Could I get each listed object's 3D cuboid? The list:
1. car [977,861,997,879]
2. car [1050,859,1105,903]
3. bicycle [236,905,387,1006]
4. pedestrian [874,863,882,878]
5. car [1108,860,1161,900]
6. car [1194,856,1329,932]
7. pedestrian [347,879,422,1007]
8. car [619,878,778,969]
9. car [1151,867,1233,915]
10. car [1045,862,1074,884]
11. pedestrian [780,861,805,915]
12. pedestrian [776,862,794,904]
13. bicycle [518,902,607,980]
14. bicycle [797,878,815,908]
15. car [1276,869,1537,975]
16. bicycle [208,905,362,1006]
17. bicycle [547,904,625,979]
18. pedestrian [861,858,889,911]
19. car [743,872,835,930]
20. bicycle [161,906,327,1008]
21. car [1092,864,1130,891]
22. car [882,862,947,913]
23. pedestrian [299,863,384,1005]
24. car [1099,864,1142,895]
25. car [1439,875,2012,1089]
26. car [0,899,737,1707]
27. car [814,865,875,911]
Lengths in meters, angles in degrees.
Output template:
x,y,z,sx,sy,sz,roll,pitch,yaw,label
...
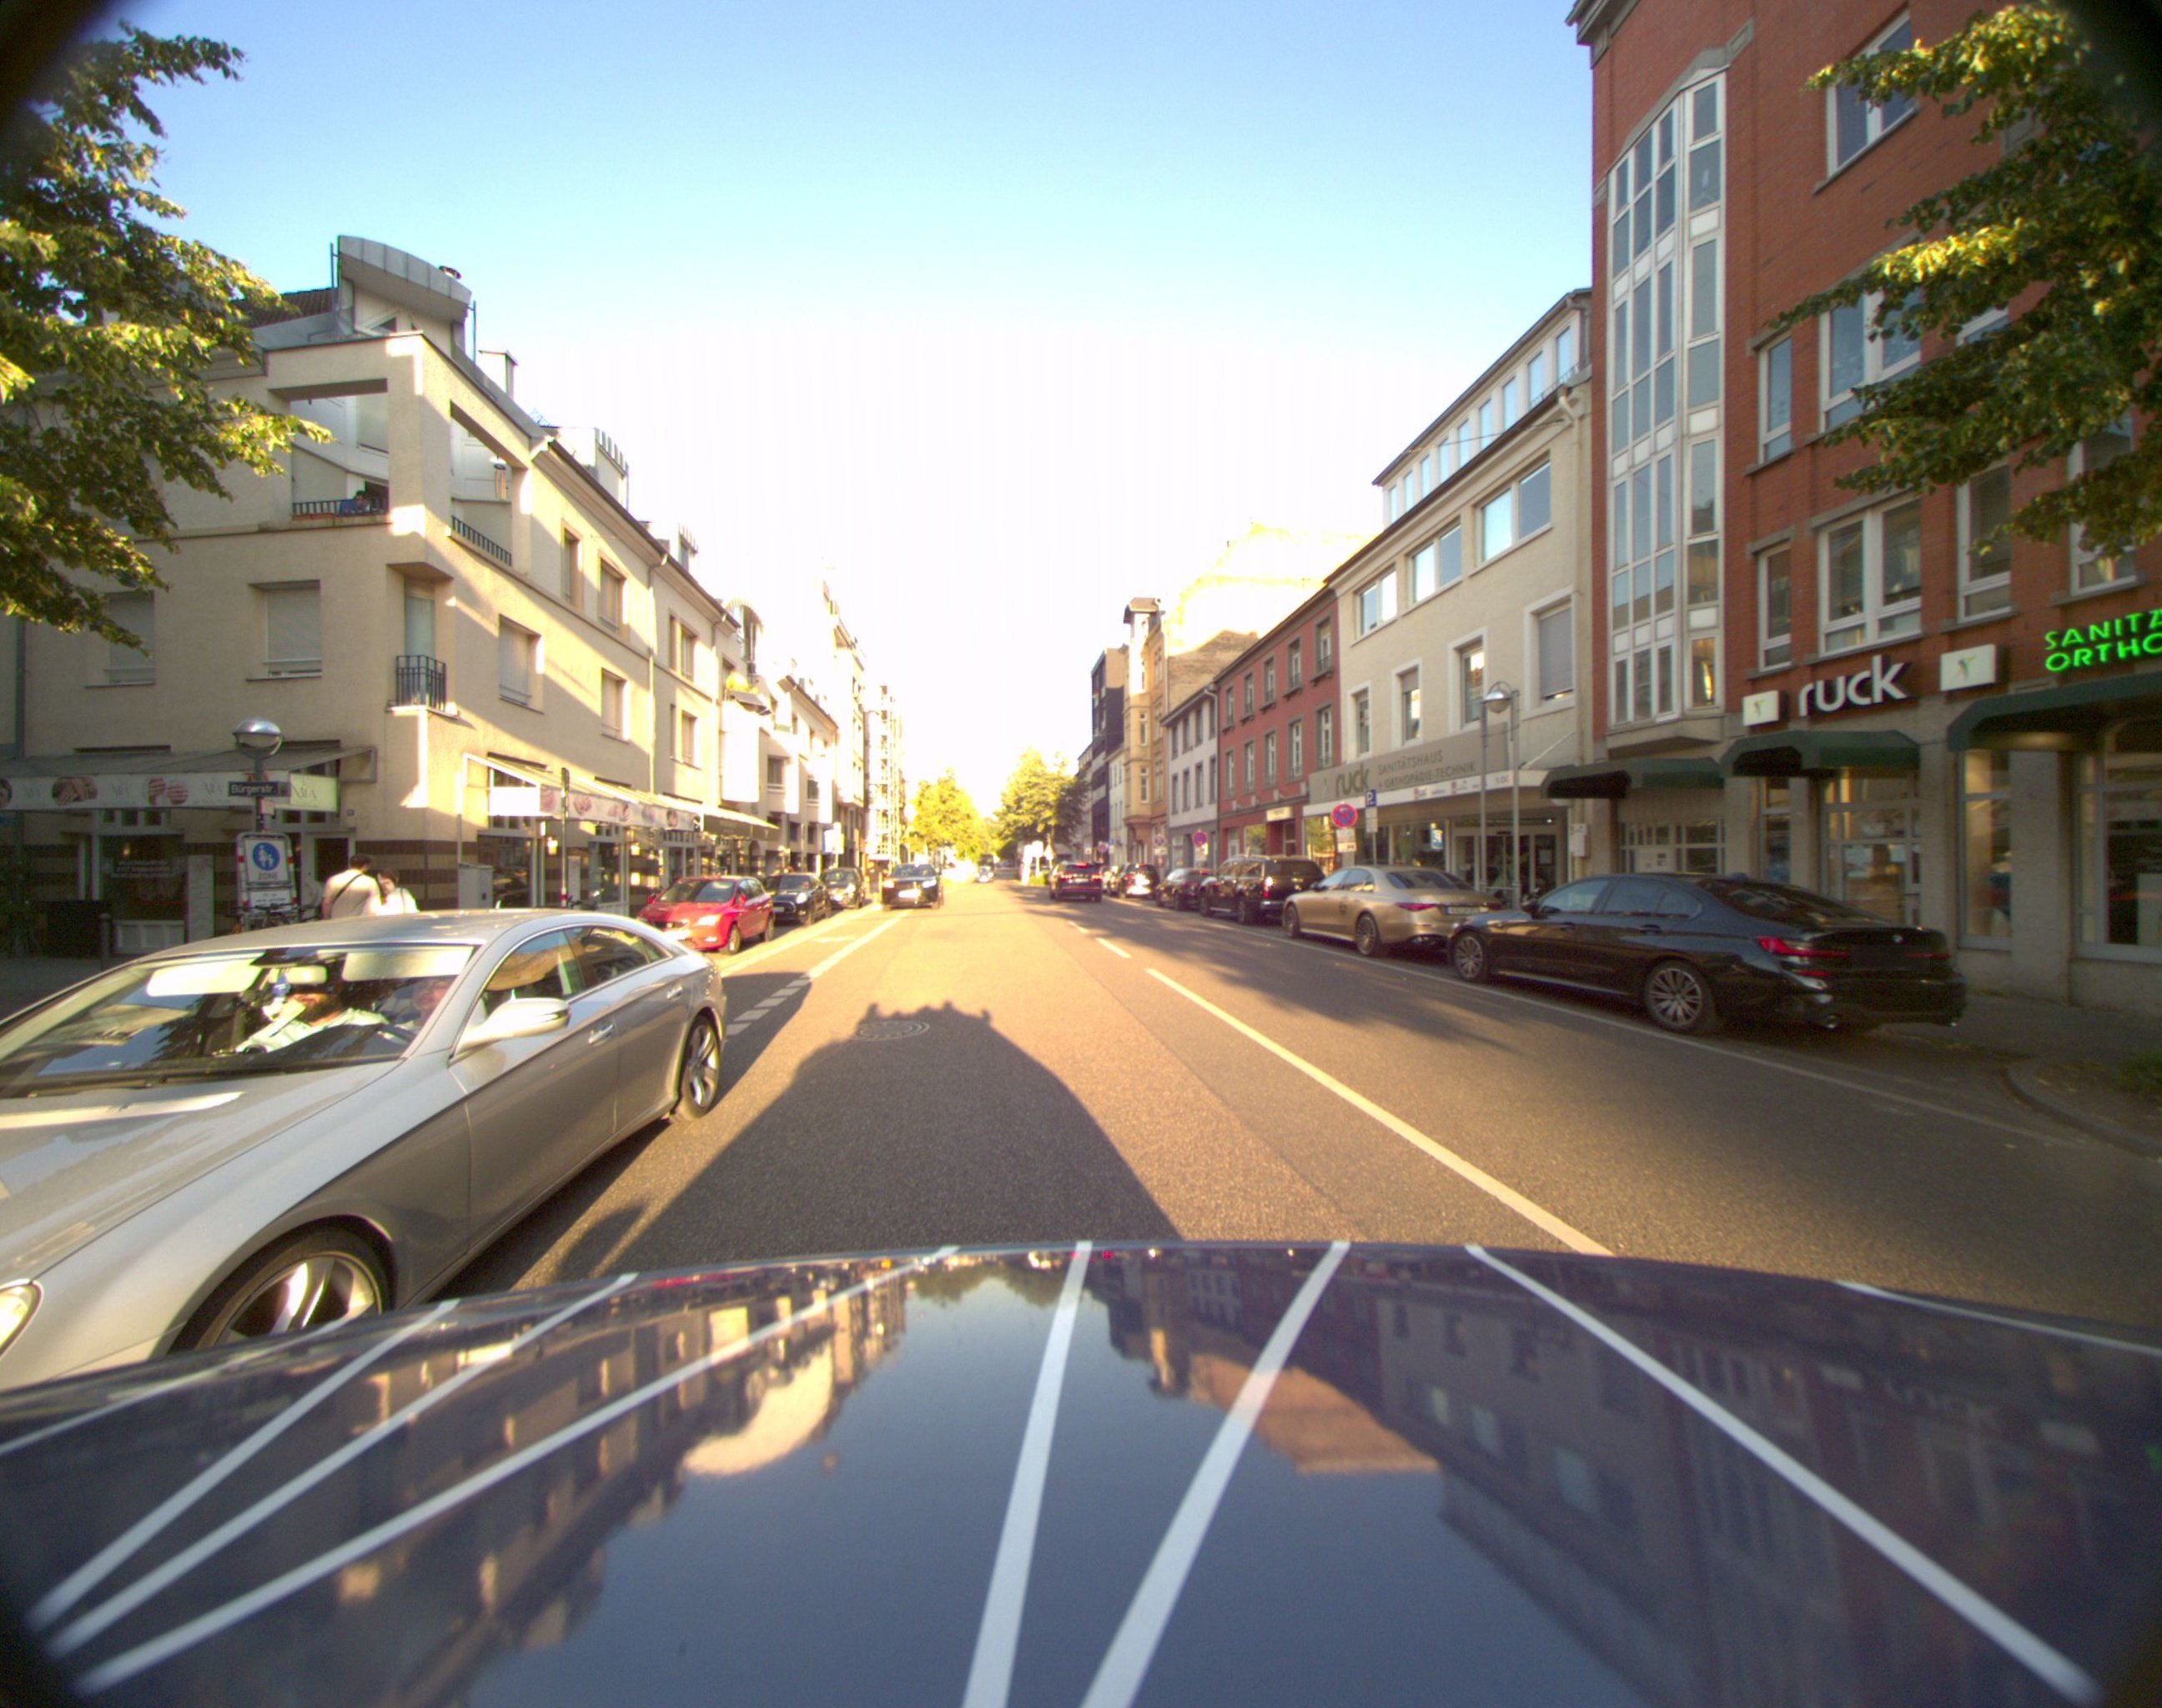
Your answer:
x,y,z,sx,sy,sz,roll,pitch,yaw,label
-8.509,1.411,68.593,1.623,1.465,3.686,-2,0,-8,car
-0.215,1.074,31.191,1.736,1.665,4.293,0,-1,-7,car
-10.290,1.311,10.258,0.322,1.098,1.878,-1,0,-7,bicycle
-16.574,1.348,62.031,0.492,1.256,0.421,-2,1,-7,pedestrian
2.409,1.164,34.982,1.726,1.673,4.047,2,-1,-6,car
4.633,0.980,20.309,1.726,1.768,4.935,1,-1,-9,car
-8.877,1.120,9.694,0.521,1.583,0.408,2,0,-8,pedestrian
-7.198,1.224,14.731,1.594,1.425,3.923,1,0,-8,car
3.772,1.229,26.427,1.707,1.429,4.011,2,-1,-8,car
-1.613,1.352,54.872,1.674,1.512,3.562,1,0,-8,car
-9.433,1.103,24.865,0.631,1.739,0.669,0,0,-8,pedestrian
-12.833,1.263,32.979,0.576,1.789,0.450,-2,1,-7,pedestrian
-8.379,1.367,12.356,0.315,1.040,1.881,0,0,-5,bicycle
-10.660,1.511,29.459,0.296,1.079,1.462,-1,0,-7,bicycle
5.348,1.038,13.466,2.000,1.463,5.104,1,-1,-6,car
-10.613,1.305,10.222,0.291,1.098,1.886,-1,0,-7,bicycle
-8.030,1.389,12.388,0.315,1.040,1.664,0,0,-5,bicycle
-7.554,1.112,27.885,0.779,1.872,0.669,-4,1,-8,pedestrian
-8.228,1.271,21.748,1.622,1.425,3.923,0,0,-8,car
-11.077,1.313,10.146,0.322,1.098,1.878,-1,0,-7,bicycle
1.699,1.326,44.201,1.674,1.448,3.563,2,-1,-6,car
-5.935,1.146,27.512,1.891,1.626,4.224,-2,0,-8,car
-9.416,1.003,9.690,0.545,1.748,0.502,2,0,-8,pedestrian
2.039,1.312,40.062,1.690,1.461,3.689,2,-1,-6,car
5.889,1.021,7.888,1.726,1.464,4.538,2,-1,-7,car
-3.026,1.060,3.028,1.748,1.393,4.635,-2,1,-8,car
-9.021,1.246,29.248,1.622,1.583,3.923,-1,0,-8,car
